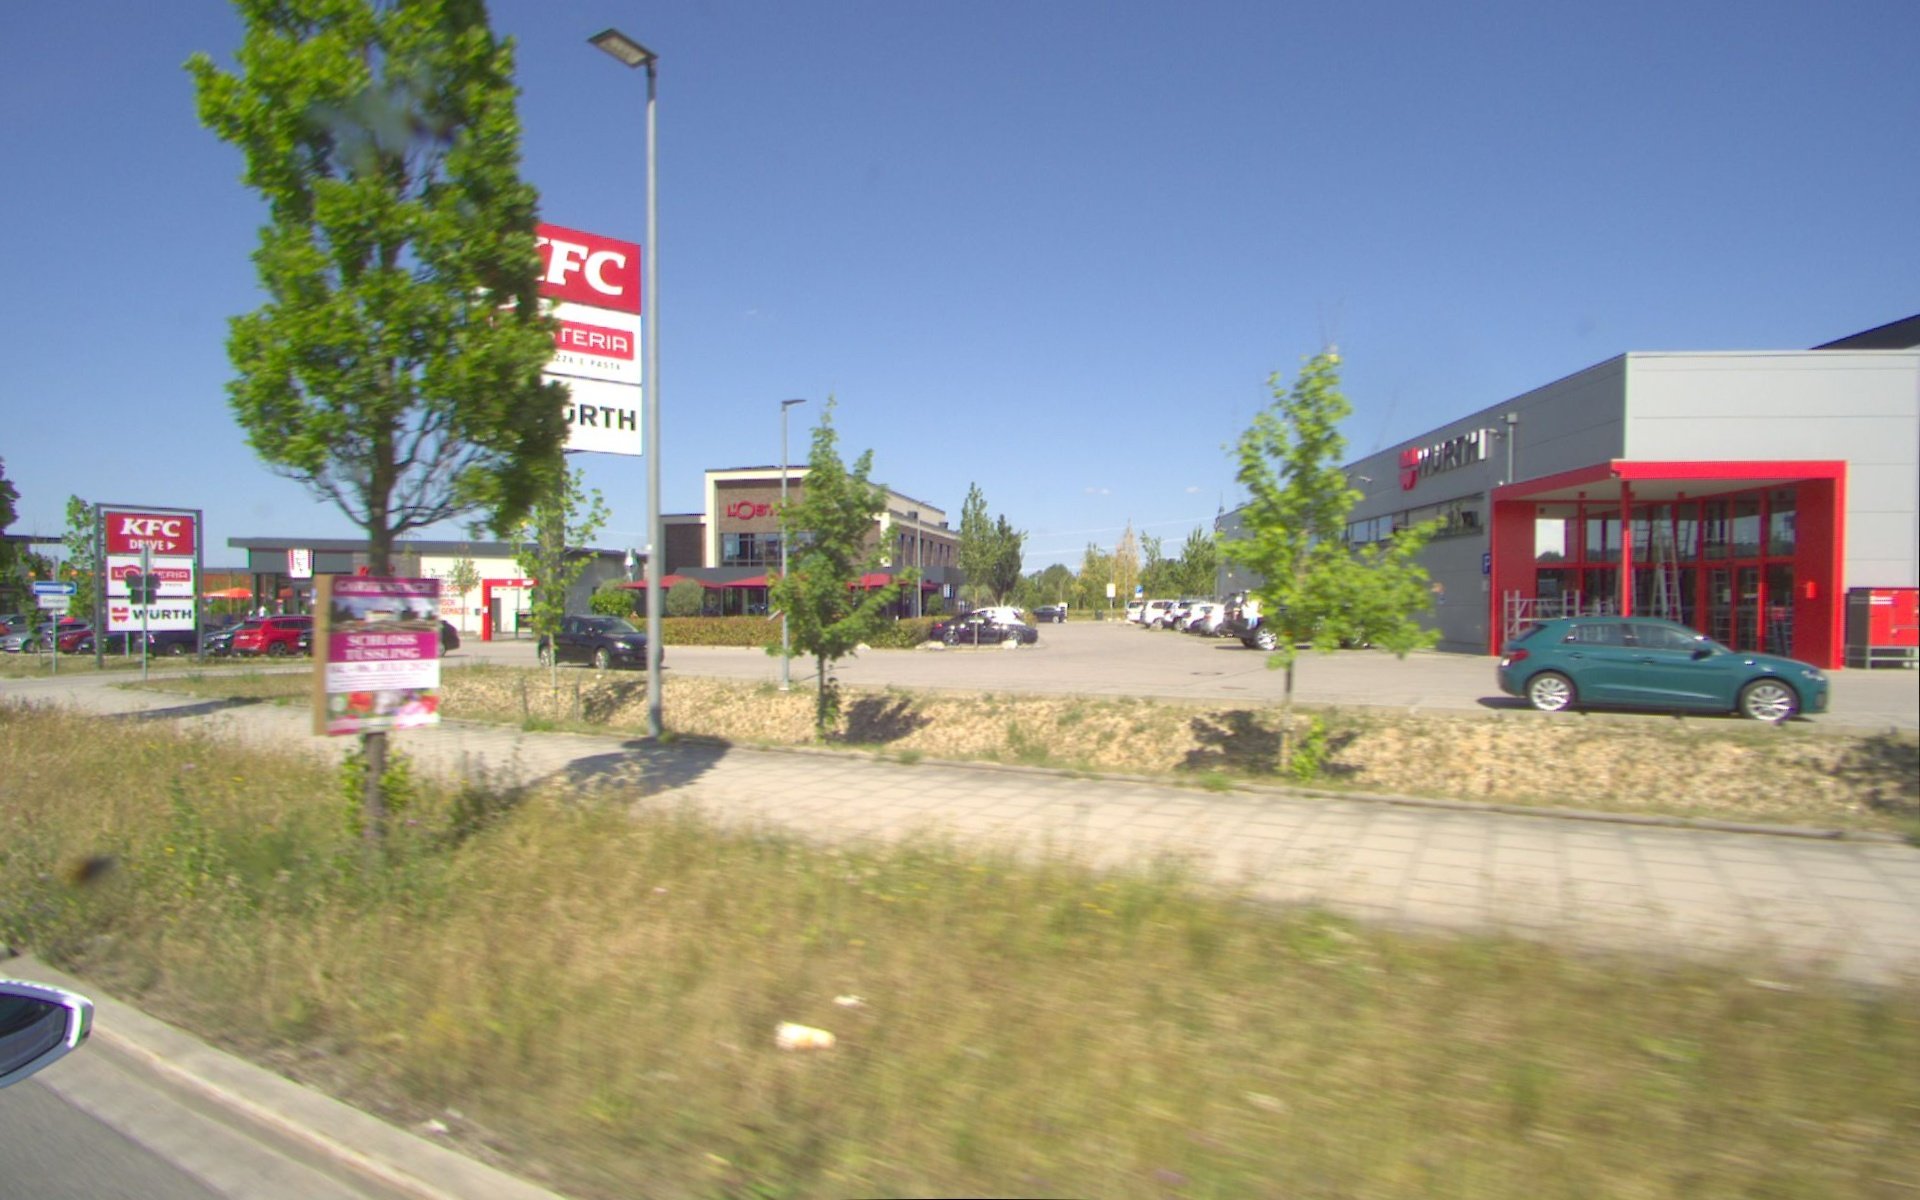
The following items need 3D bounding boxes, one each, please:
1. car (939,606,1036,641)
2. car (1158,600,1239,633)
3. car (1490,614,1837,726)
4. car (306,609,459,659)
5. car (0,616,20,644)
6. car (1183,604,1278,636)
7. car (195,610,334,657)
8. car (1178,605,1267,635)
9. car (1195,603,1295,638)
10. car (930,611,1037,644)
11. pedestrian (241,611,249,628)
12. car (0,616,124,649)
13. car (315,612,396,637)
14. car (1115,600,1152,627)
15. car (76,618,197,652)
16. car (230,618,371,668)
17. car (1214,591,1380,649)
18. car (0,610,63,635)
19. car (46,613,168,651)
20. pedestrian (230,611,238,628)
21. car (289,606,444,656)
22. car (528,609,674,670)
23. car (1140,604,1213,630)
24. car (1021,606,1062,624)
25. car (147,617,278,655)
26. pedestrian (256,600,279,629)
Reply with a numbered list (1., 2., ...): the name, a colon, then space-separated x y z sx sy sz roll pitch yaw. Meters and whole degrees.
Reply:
1. car: 1.209 1.019 43.712 4.150 1.491 1.702 0 0 1
2. car: 12.994 0.907 54.729 4.029 1.780 1.702 0 0 2
3. car: 9.964 0.934 14.581 3.937 1.426 1.512 0 0 28
4. car: -20.678 1.172 36.041 1.964 1.587 4.401 0 1 28
5. car: -54.740 1.681 54.939 1.836 1.510 4.209 0 0 19
6. car: 12.731 0.952 47.329 4.029 1.481 1.702 0 0 2
7. car: -28.803 1.351 41.613 1.764 1.758 4.399 0 1 30
8. car: 13.123 1.002 50.137 4.029 1.481 1.702 0 0 2
9. car: 12.683 0.906 44.699 4.029 1.481 1.702 0 0 2
10. car: 0.891 1.064 38.764 4.055 1.228 1.654 0 0 1
11. pedestrian: -54.139 1.478 75.798 0.287 1.257 0.380 0 1 11
12. car: -45.761 1.623 50.996 1.837 1.510 4.556 0 1 23
13. car: -38.892 1.541 64.569 1.833 1.450 4.566 0 1 12
14. car: 12.194 0.953 70.588 2.009 1.839 4.923 0 0 4
15. car: -39.414 1.632 48.045 1.760 1.469 4.157 0 1 21
16. car: -26.338 1.663 40.169 1.765 1.758 4.398 0 1 31
17. car: 11.095 0.653 33.248 4.828 1.840 2.048 0 0 4
18. car: -64.802 1.516 69.031 1.757 1.657 4.166 0 0 11
19. car: -41.612 1.525 48.975 1.839 1.687 4.151 0 1 27
20. pedestrian: -54.434 1.465 75.056 0.287 1.257 0.380 0 1 11
21. car: -23.258 1.172 39.450 1.909 1.758 4.977 0 1 28
22. car: -10.031 1.053 27.877 4.112 1.560 1.775 -1 0 35
23. car: 12.844 1.025 59.584 4.029 1.481 1.702 0 0 2
24. car: 7.718 1.424 94.343 3.713 1.610 1.626 0 0 10
25. car: -32.665 1.541 43.840 4.377 1.469 1.773 -1 1 -45
26. pedestrian: -47.873 1.001 69.233 0.875 2.040 0.915 0 0 16
